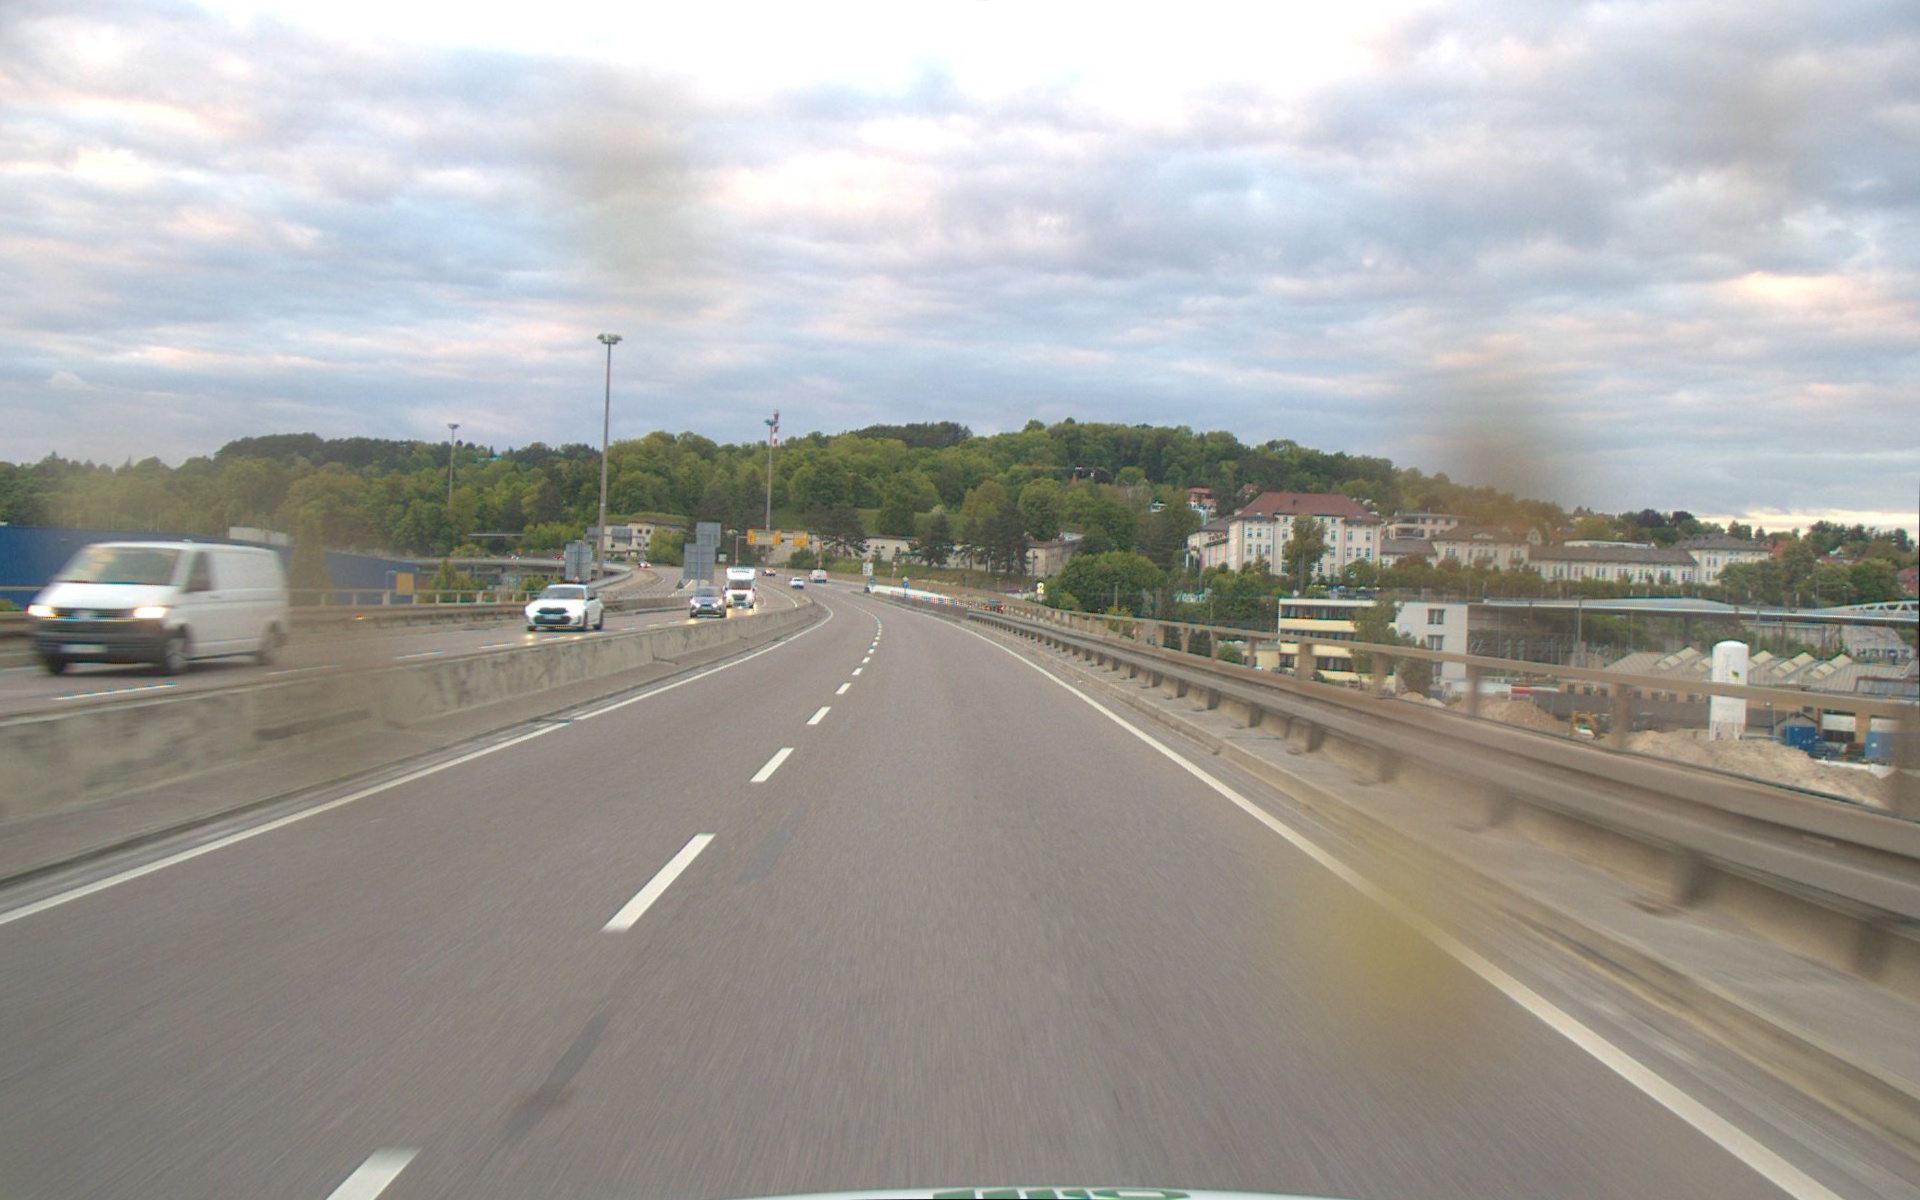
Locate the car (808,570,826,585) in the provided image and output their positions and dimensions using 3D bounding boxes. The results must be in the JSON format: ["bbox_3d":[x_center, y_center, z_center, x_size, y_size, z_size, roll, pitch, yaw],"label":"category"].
[{"bbox_3d":[-22.432,-3.561,260.089,1.962,2.048,4.089,2,2,-17],"label":"car"}]

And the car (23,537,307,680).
[{"bbox_3d":[-12.007,0.111,25.474,1.863,1.934,5.457,1,0,-2],"label":"car"}]

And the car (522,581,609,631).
[{"bbox_3d":[-12.497,0.180,52.640,1.794,1.529,4.814,0,0,-2],"label":"car"}]

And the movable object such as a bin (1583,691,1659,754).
[{"bbox_3d":[54.691,10.129,136.890,4.868,4.382,2.770,8,-1,-19],"label":"movable object such as a bin"}]

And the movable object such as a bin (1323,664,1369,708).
[{"bbox_3d":[44.881,9.972,192.556,2.732,4.382,4.936,8,-1,-16],"label":"movable object such as a bin"}]

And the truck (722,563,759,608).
[{"bbox_3d":[-17.061,-1.118,128.906,2.485,3.354,7.437,1,0,-5],"label":"truck"}]

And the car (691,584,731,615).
[{"bbox_3d":[-12.300,-0.057,81.935,1.596,1.466,3.833,1,1,-4],"label":"car"}]

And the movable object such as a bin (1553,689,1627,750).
[{"bbox_3d":[53.556,10.118,140.634,4.868,4.382,2.770,8,-1,-19],"label":"movable object such as a bin"}]

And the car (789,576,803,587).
[{"bbox_3d":[-22.568,-2.485,226.964,1.601,1.412,3.991,1,2,-10],"label":"car"}]

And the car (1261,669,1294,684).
[{"bbox_3d":[40.912,9.888,213.100,3.959,1.592,1.808,6,1,-38],"label":"car"}]

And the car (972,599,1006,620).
[{"bbox_3d":[2.779,0.919,160.211,2.264,1.794,4.250,3,1,-12],"label":"car"}]
